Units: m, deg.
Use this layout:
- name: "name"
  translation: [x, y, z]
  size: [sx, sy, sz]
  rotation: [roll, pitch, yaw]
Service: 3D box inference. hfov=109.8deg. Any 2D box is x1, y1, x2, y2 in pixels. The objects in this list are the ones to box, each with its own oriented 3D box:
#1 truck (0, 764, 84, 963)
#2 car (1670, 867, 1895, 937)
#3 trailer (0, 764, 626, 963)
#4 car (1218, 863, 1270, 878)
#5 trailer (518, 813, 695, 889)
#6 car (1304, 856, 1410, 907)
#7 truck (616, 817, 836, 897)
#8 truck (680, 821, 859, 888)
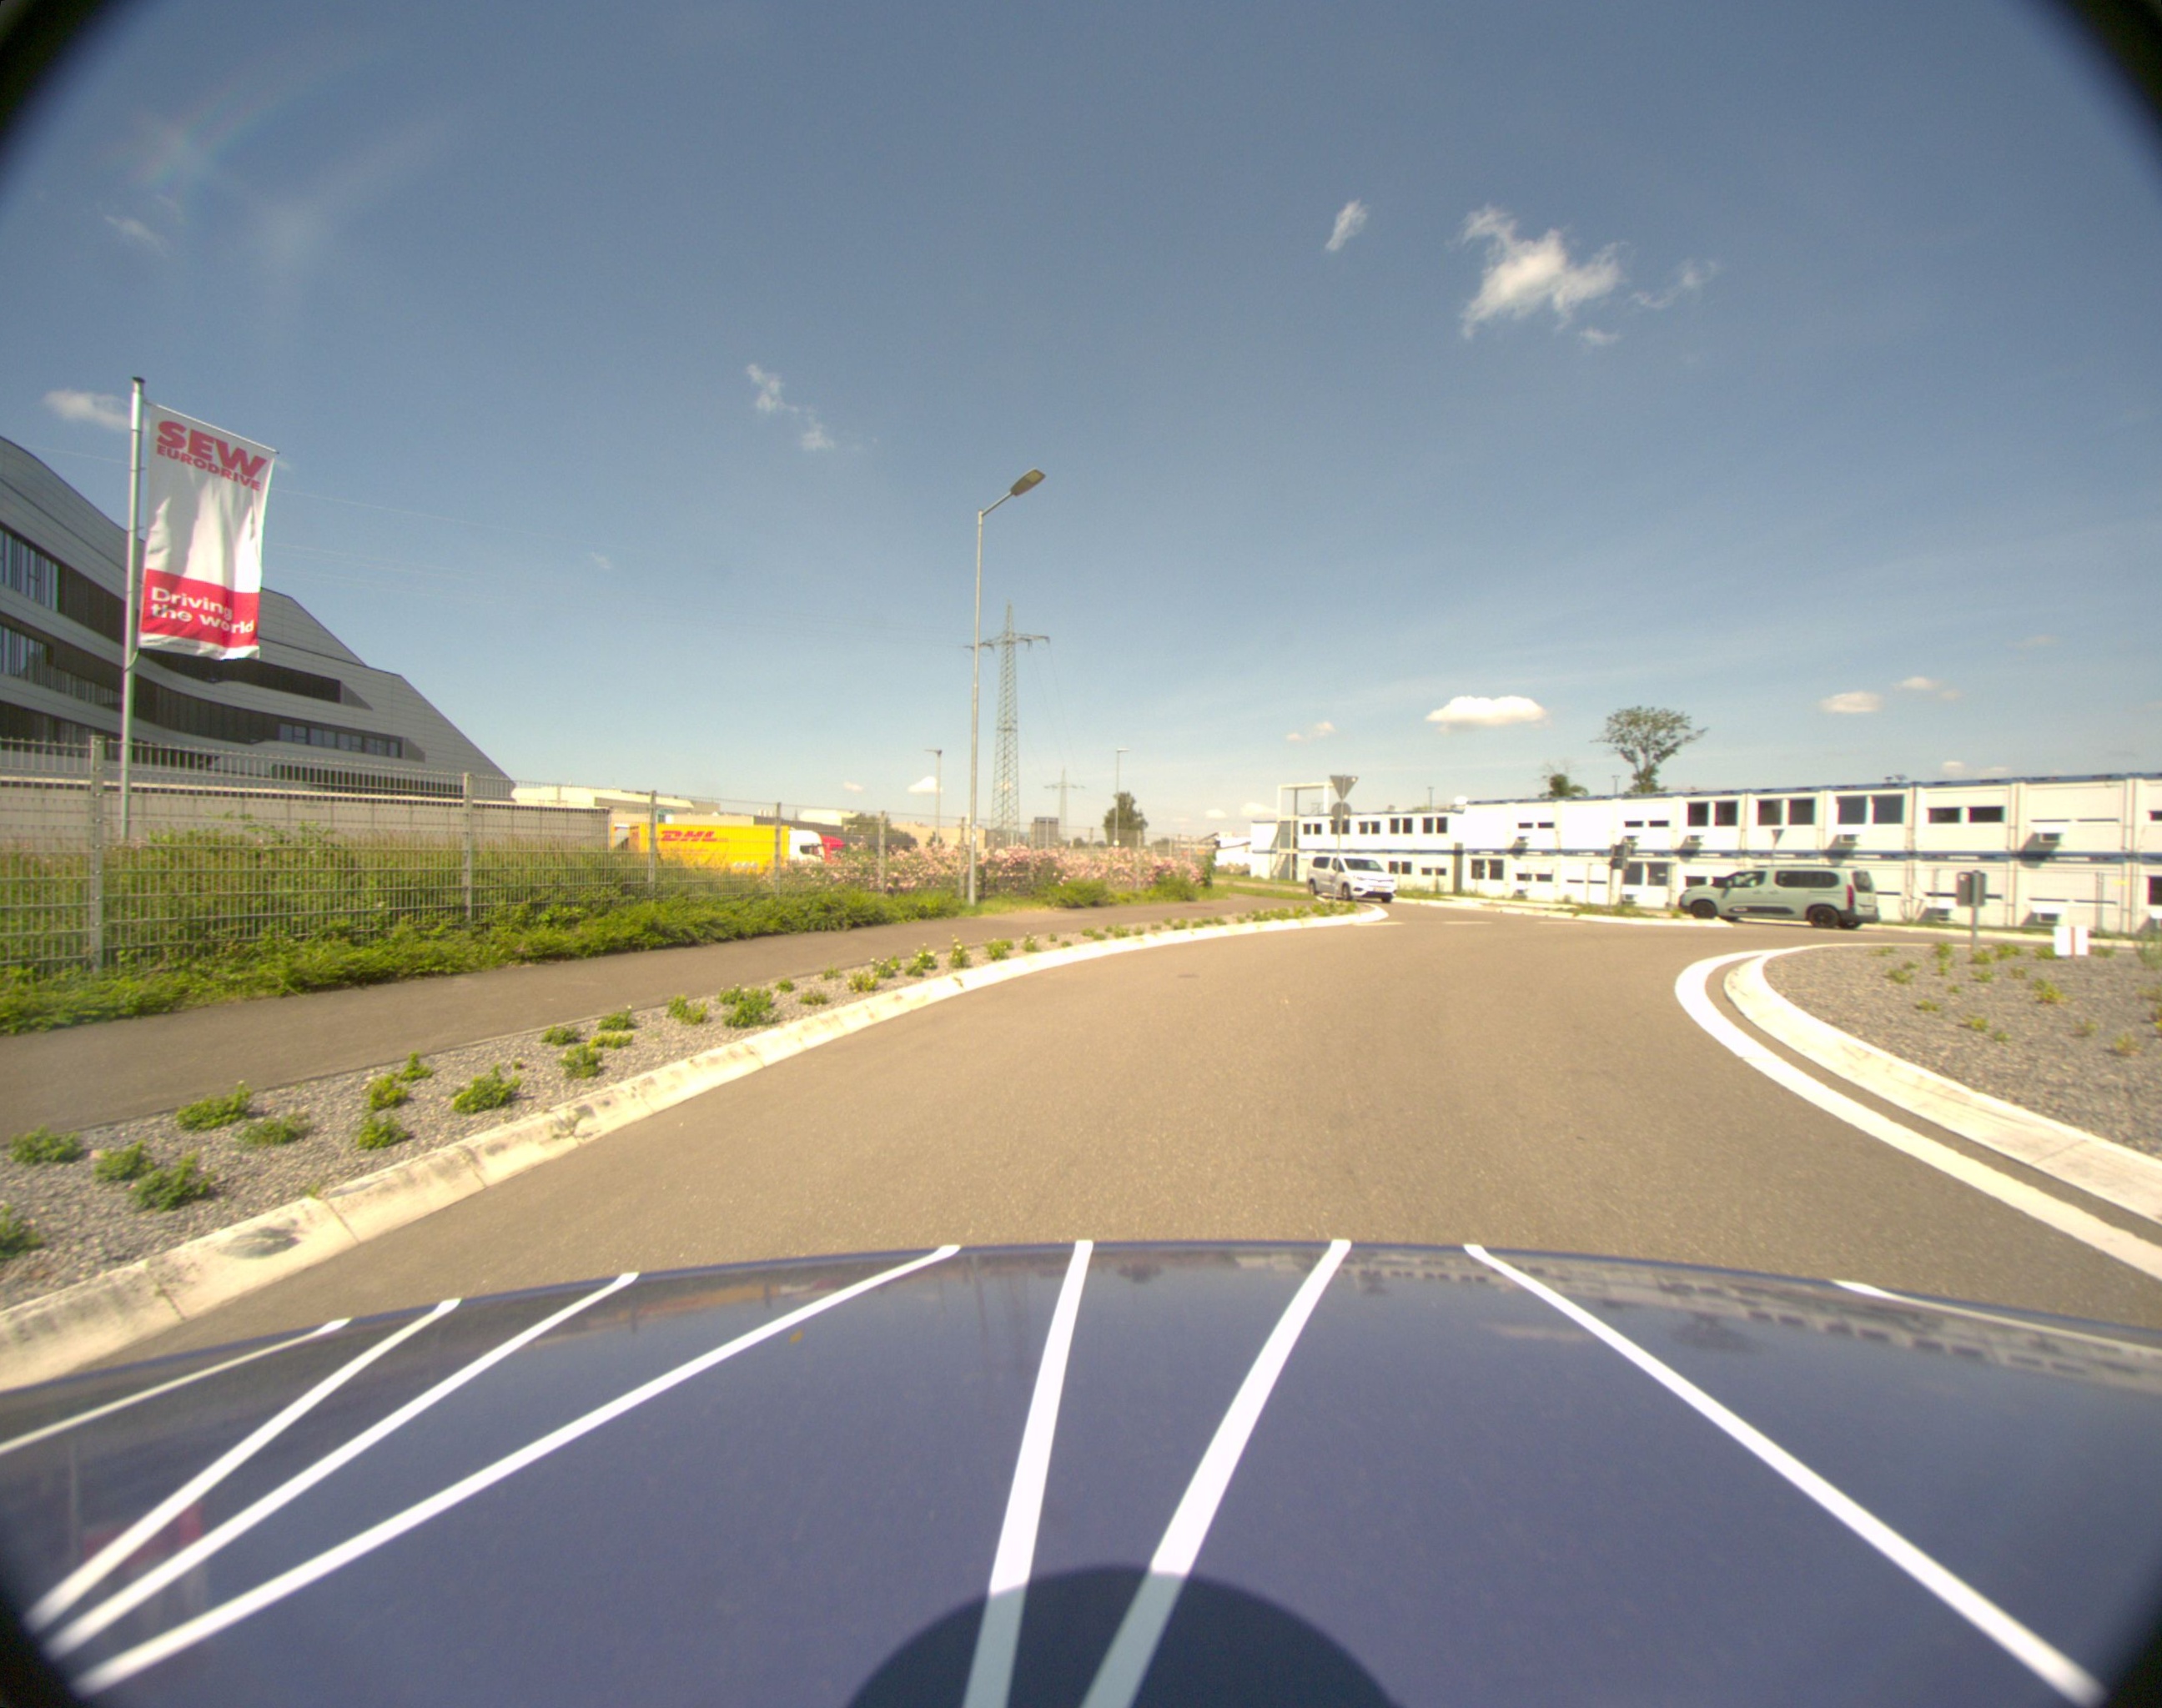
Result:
- name: "truck"
  translation: [-26.371, 0.112, 16.472]
  size: [5.303, 4.397, 2.757]
  rotation: [2, 1, -42]
- name: "car"
  translation: [20.931, 1.355, 22.901]
  size: [2.003, 1.769, 4.549]
  rotation: [2, 0, -30]
- name: "trailer"
  translation: [-21.110, 0.309, 21.180]
  size: [14.095, 4.412, 2.757]
  rotation: [2, 1, -42]
- name: "car"
  translation: [17.087, 1.740, 79.546]
  size: [4.990, 1.408, 1.997]
  rotation: [1, 0, -18]
- name: "trailer"
  translation: [-28.780, -0.090, 46.396]
  size: [8.735, 4.271, 3.019]
  rotation: [2, 1, -41]
- name: "car"
  translation: [10.674, 1.013, 29.835]
  size: [1.838, 1.796, 4.825]
  rotation: [1, 0, -8]
- name: "truck"
  translation: [-20.105, 0.258, 43.817]
  size: [10.999, 4.148, 2.814]
  rotation: [2, 1, -41]
- name: "truck"
  translation: [-21.388, 0.165, 52.877]
  size: [10.999, 4.232, 3.019]
  rotation: [2, 1, -42]
